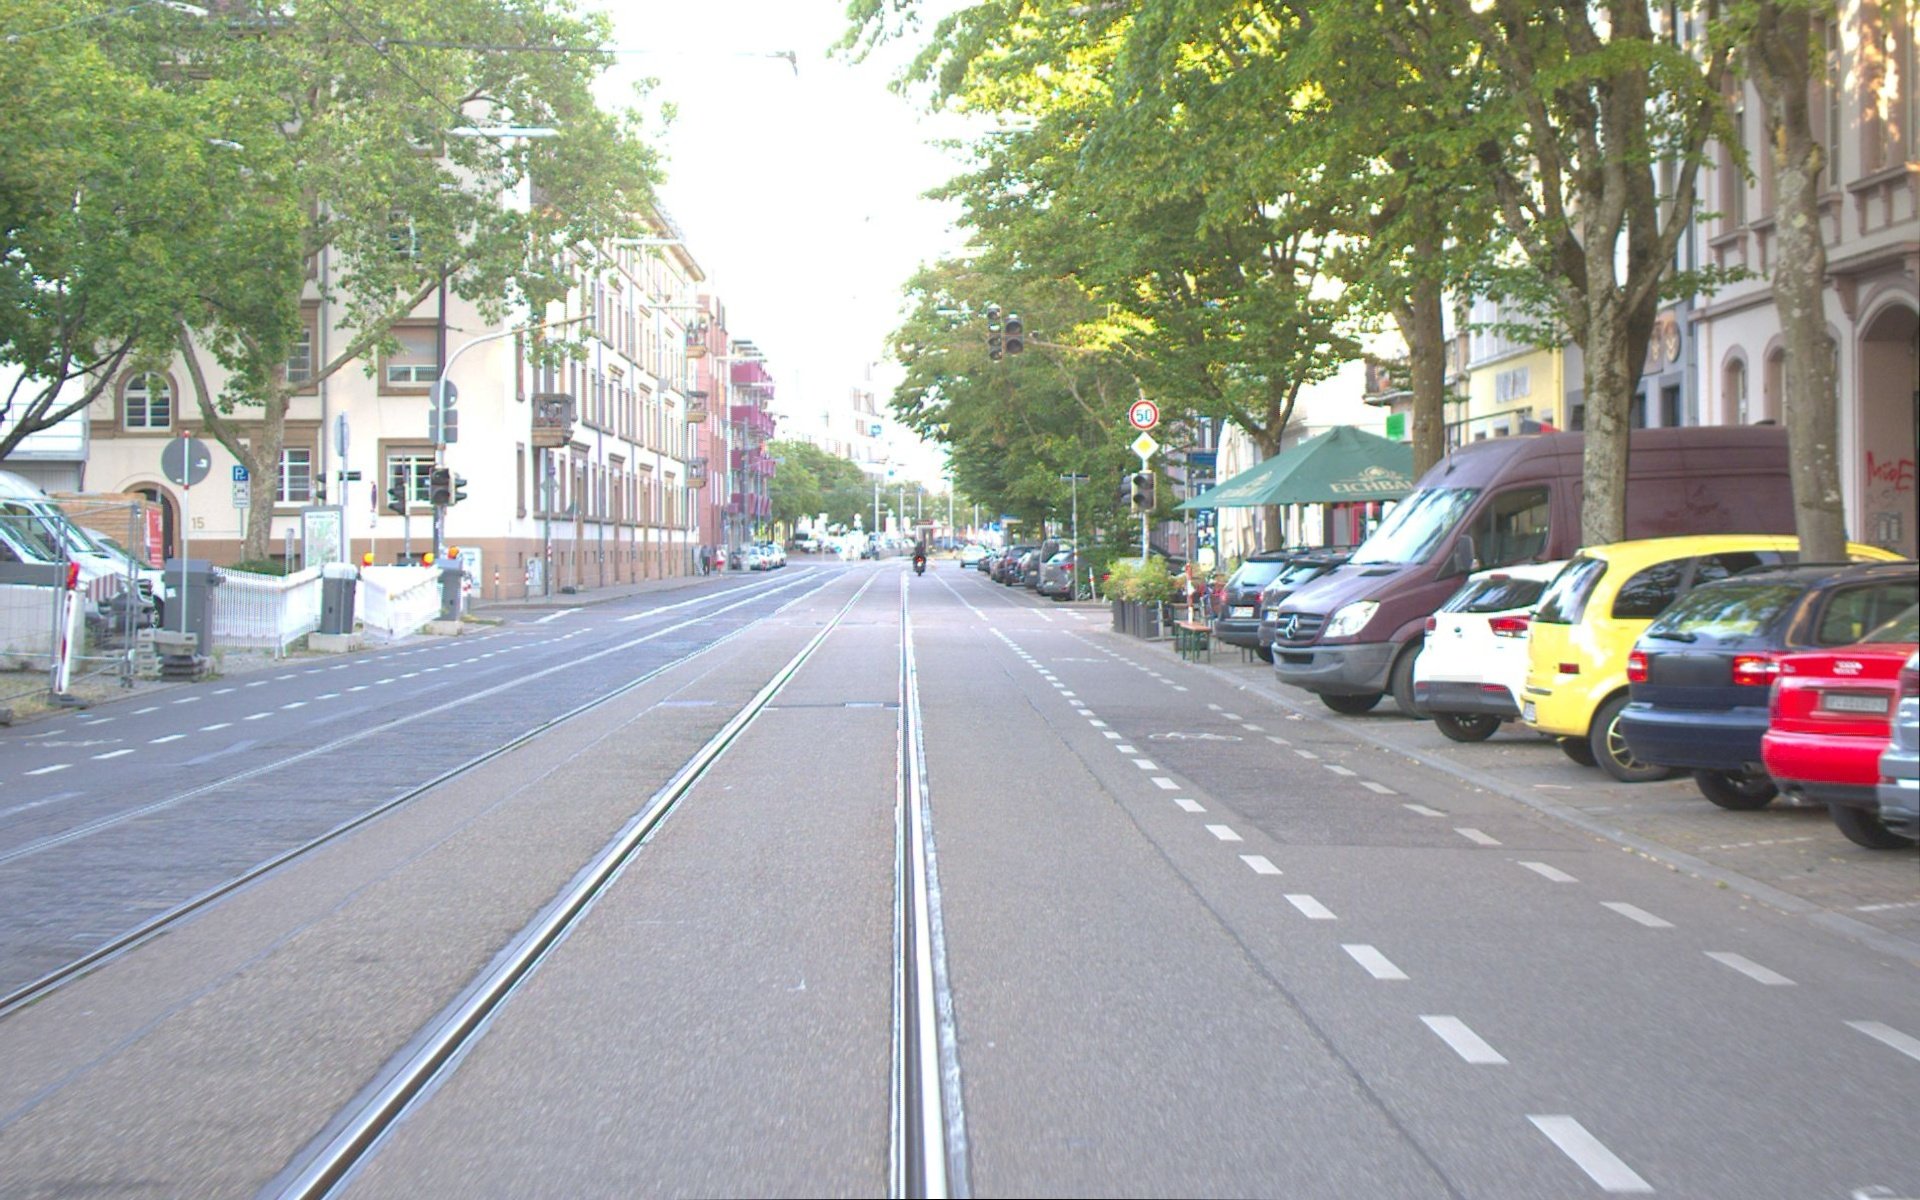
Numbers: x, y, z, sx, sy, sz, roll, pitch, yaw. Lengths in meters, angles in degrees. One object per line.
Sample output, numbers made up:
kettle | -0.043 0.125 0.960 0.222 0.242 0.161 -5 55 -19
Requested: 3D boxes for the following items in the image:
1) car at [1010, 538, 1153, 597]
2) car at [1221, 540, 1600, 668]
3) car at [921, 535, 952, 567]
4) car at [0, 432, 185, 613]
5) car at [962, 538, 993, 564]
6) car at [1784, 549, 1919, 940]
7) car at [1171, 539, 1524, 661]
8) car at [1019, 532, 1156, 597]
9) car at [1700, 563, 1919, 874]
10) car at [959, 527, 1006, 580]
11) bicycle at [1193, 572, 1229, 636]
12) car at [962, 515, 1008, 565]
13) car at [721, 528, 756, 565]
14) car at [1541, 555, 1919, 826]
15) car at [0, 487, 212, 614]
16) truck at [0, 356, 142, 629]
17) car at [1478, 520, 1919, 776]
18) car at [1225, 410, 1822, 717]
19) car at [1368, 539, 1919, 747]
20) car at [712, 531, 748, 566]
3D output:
car | 3.327 -0.897 94.680 3.887 1.587 1.861 0 1 0
car | 5.559 0.031 42.602 4.174 1.457 2.009 -1 1 -16
car | -1.509 -3.151 219.509 1.898 2.007 4.000 1 1 -1
car | -14.485 -1.217 51.159 5.398 2.549 2.227 2 1 -3
car | 1.158 -3.284 230.948 1.963 1.713 4.000 1 1 -1
car | 5.806 0.511 14.407 4.249 1.555 1.898 -2 1 -23
car | 5.116 -0.016 45.423 4.174 1.493 2.009 -1 1 -25
car | 3.671 -1.035 99.525 3.887 1.842 1.861 0 0 0
car | 6.002 0.495 17.318 4.120 1.420 1.898 -2 1 -26
car | 0.859 -1.806 133.440 1.721 2.007 4.000 1 1 -1
bicycle | 4.079 0.052 55.968 0.418 1.012 1.830 1 1 -1
car | 1.022 -2.447 141.300 1.804 2.007 4.000 1 1 -1
car | -13.175 -3.178 204.579 1.898 2.171 4.000 1 1 -1
car | 5.725 0.450 20.362 4.120 1.420 1.921 -2 1 -26
car | -15.216 -0.870 57.038 5.027 1.938 2.227 2 1 4
truck | -14.610 -1.514 45.292 7.056 3.468 2.542 2 1 -4
car | 5.715 0.291 23.707 3.950 1.614 1.921 -2 0 0
car | 5.285 -0.371 32.347 5.093 2.633 2.022 -2 1 -17
car | 5.509 0.319 27.697 3.950 1.481 1.921 -2 0 -24
car | -13.366 -2.984 199.935 1.898 2.007 4.000 1 1 -1
